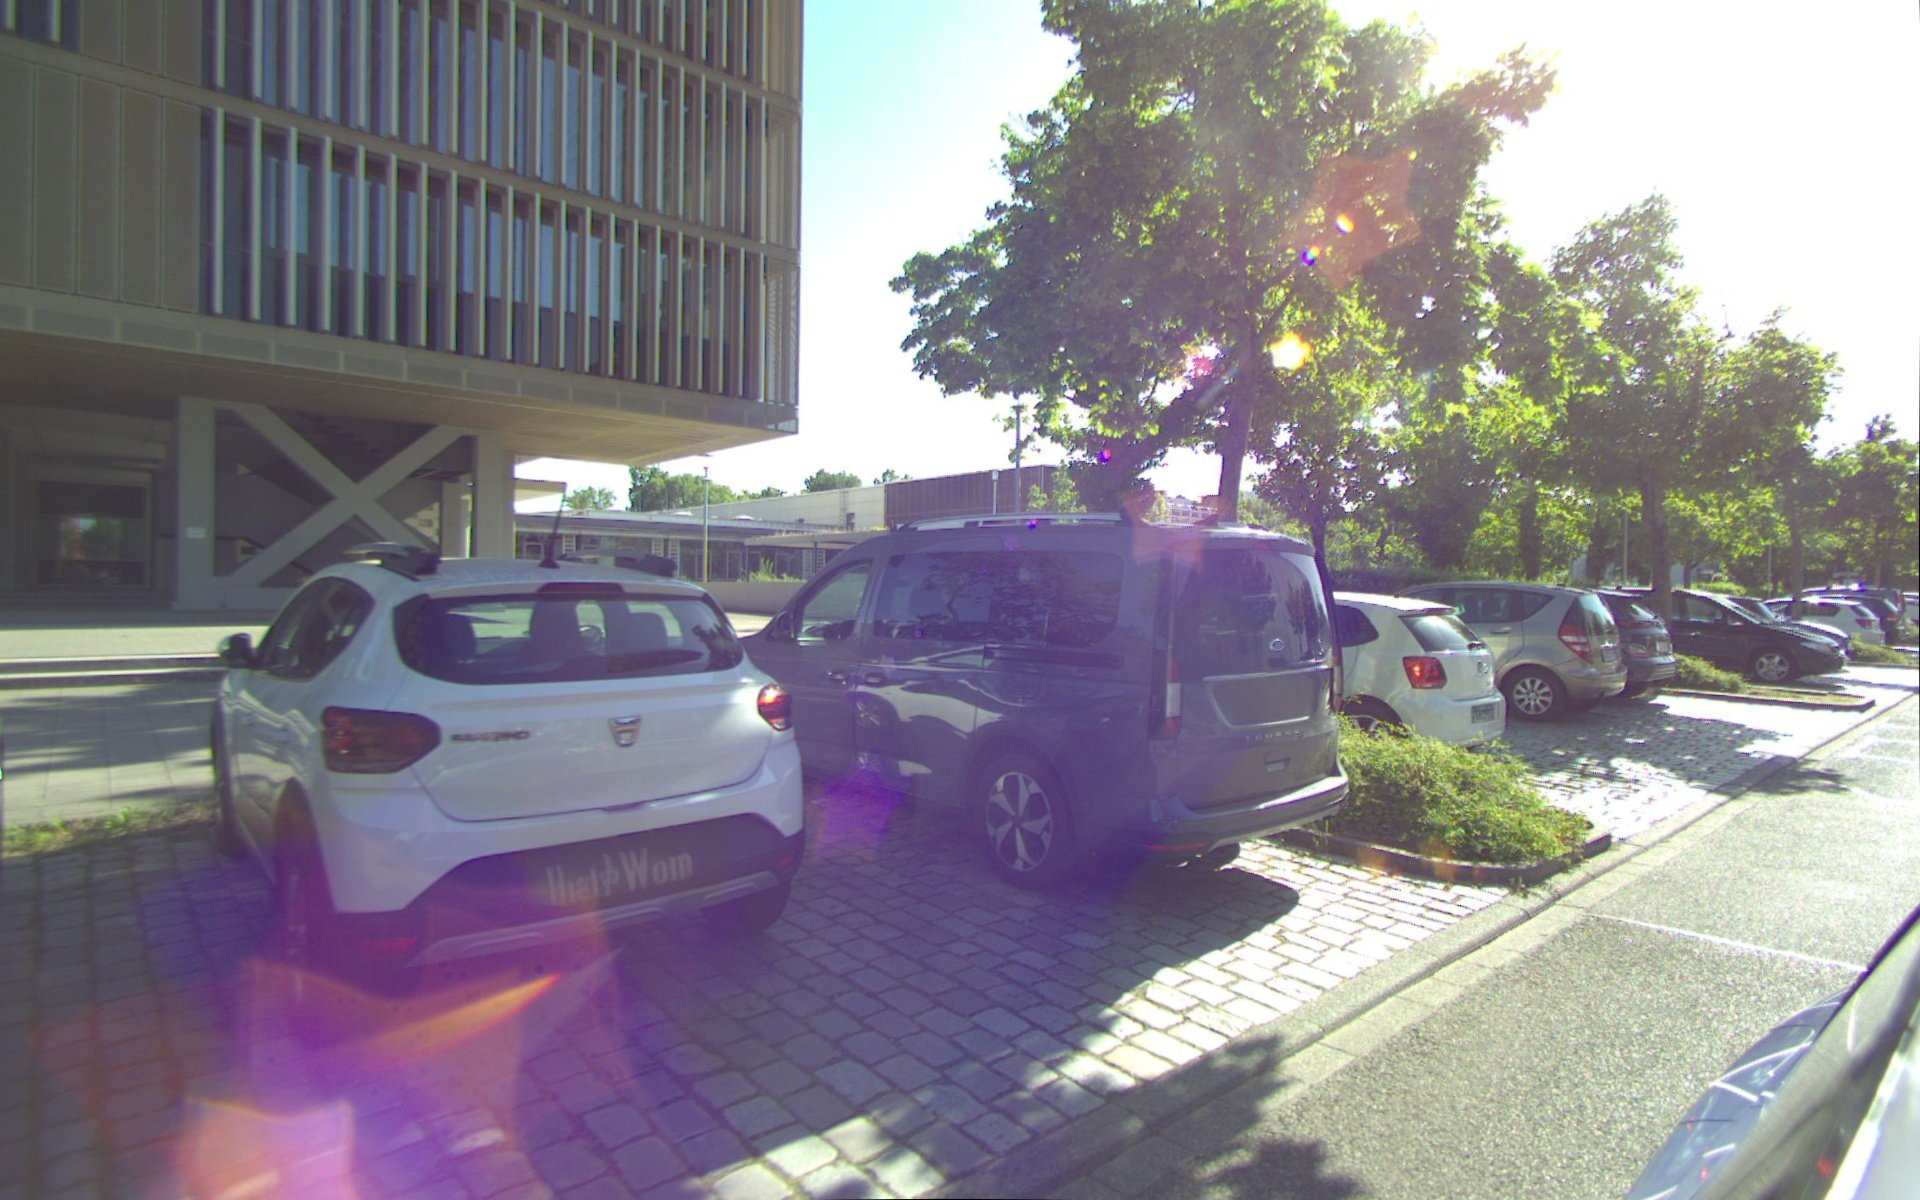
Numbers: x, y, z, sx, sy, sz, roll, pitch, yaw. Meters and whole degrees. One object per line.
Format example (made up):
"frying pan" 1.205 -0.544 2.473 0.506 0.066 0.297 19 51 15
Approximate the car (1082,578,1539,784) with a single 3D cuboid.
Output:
"car" 3.051 0.562 9.345 1.647 1.439 3.649 0 2 -41

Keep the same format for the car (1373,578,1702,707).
"car" 8.131 0.496 14.515 1.703 1.532 3.717 0 2 -39

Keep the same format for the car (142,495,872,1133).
"car" -2.536 0.450 4.842 2.038 1.576 4.411 0 2 -40

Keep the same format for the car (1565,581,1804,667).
"car" 14.797 0.413 20.820 1.647 1.532 3.714 0 2 -41

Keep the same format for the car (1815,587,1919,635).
"car" 32.739 0.378 35.708 1.647 1.544 3.714 0 2 -41

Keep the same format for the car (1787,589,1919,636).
"car" 30.843 0.389 34.606 1.647 1.443 3.714 0 2 -41

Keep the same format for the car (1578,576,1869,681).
"car" 13.680 0.418 18.316 1.648 1.620 3.956 0 2 -42

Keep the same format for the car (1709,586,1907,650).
"car" 22.201 0.416 26.591 1.701 1.443 3.759 0 2 -41

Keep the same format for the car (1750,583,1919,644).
"car" 25.632 0.331 29.603 1.647 1.586 3.714 0 2 -41

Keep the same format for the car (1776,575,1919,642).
"car" 27.596 0.211 31.322 1.667 1.911 3.388 0 2 -41

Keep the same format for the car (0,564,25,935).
"car" -4.030 0.617 2.714 2.038 1.427 4.411 0 2 -40

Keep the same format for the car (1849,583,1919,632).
"car" 35.058 0.291 36.947 1.647 1.692 3.714 0 2 -41

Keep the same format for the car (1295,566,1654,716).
"car" 6.385 0.388 12.885 1.646 1.588 3.716 0 2 -40

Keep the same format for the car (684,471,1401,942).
"car" 0.162 0.357 6.467 2.038 1.915 4.411 0 2 -40

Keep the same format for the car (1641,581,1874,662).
"car" 17.179 0.400 21.923 1.647 1.532 3.714 0 2 -41

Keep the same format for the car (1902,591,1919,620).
"car" 49.989 0.344 50.872 1.647 1.443 3.714 0 2 -41
